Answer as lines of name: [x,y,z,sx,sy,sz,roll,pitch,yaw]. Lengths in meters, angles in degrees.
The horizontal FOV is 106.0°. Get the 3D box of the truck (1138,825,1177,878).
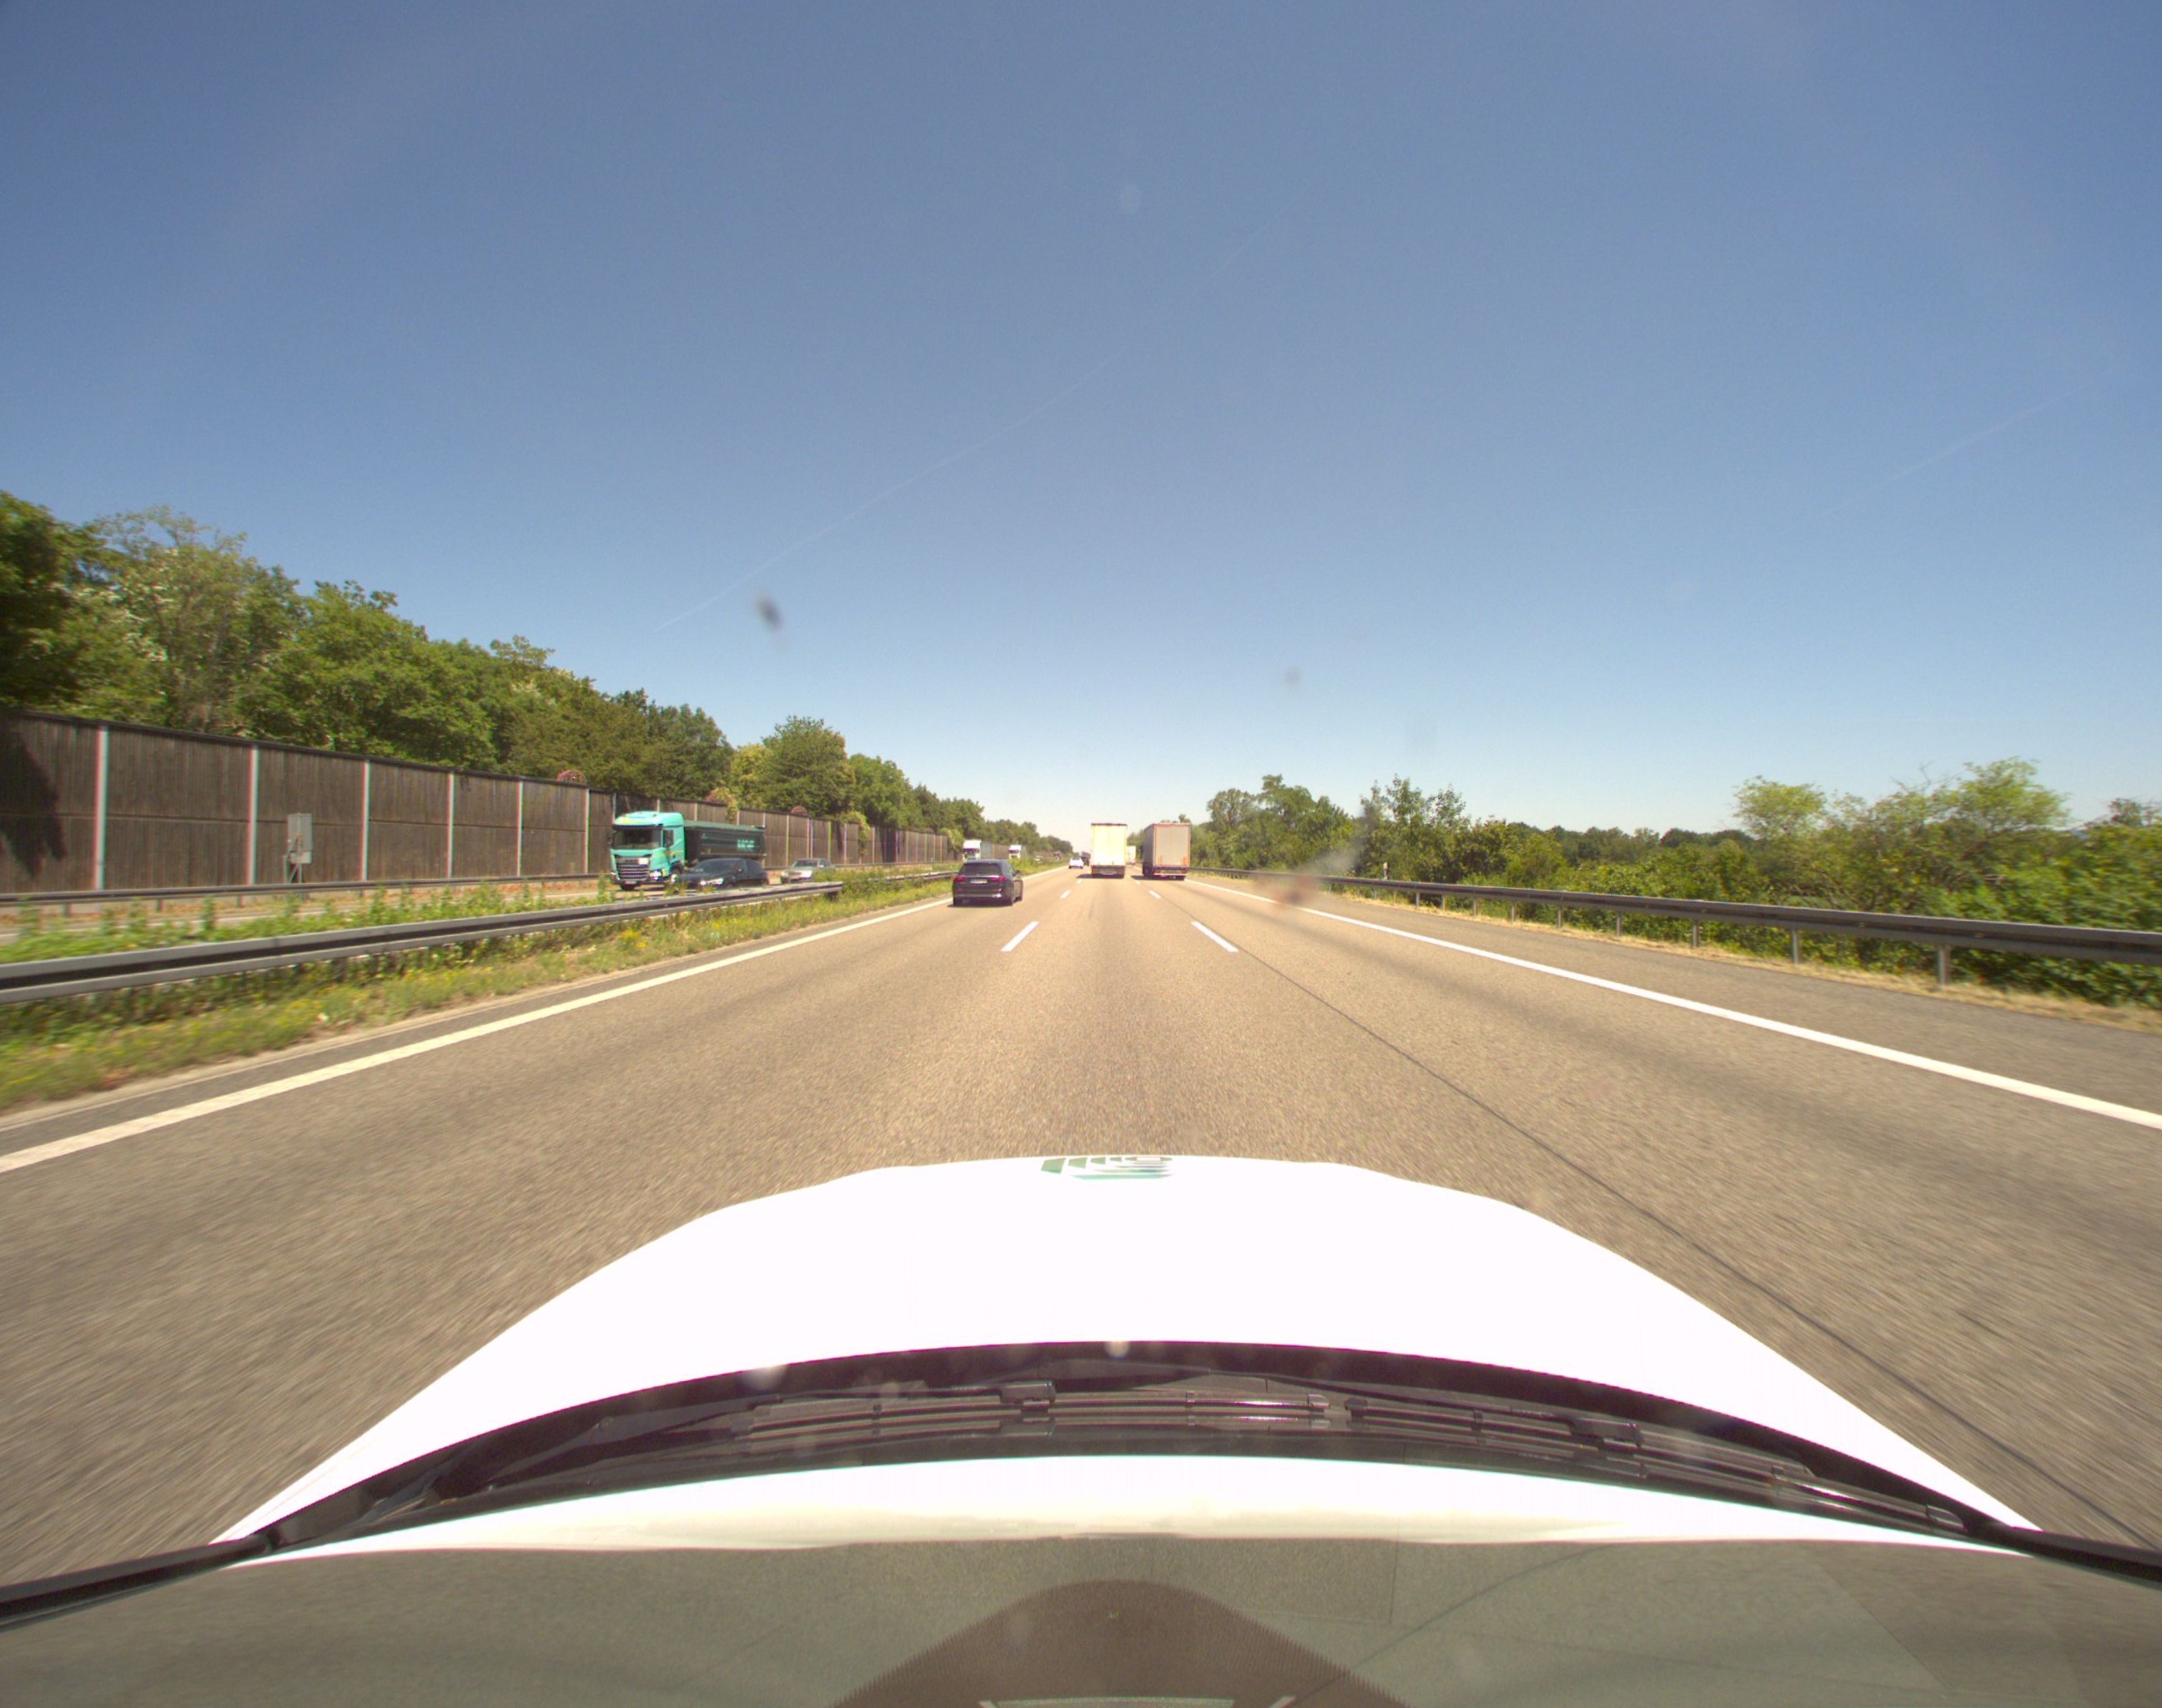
truck: [6.441,-0.182,69.263,2.682,4.215,7.839,0,0,1]

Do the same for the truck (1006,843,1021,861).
truck: [-15.961,-0.355,193.567,2.823,4.183,7.143,0,-1,1]

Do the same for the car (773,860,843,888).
car: [-14.844,1.060,44.658,1.857,1.441,5.090,0,0,3]

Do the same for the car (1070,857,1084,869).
car: [-0.530,1.198,106.804,1.849,1.486,3.999,-1,0,0]

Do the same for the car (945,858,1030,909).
car: [-3.023,0.918,27.504,1.936,1.506,5.824,-1,0,2]

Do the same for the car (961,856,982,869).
car: [-13.985,1.094,104.457,1.986,1.590,4.494,0,0,2]

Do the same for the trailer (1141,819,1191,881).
trailer: [6.333,-0.214,62.573,2.694,4.216,13.213,0,0,1]

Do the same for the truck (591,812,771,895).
truck: [-20.217,0.002,42.521,3.079,3.675,12.370,0,0,1]

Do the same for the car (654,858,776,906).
car: [-12.025,0.870,27.120,1.950,1.446,4.460,0,0,2]

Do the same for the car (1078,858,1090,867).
car: [0.507,1.475,142.150,1.850,1.617,3.998,-1,0,-1]

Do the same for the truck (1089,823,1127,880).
truck: [2.076,-0.133,65.011,2.697,4.086,13.475,0,0,1]

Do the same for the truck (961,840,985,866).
truck: [-17.358,-0.134,131.052,2.748,4.022,6.735,0,-1,1]

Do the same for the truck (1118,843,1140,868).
truck: [8.880,0.343,152.657,3.363,4.303,11.448,3,0,0]
